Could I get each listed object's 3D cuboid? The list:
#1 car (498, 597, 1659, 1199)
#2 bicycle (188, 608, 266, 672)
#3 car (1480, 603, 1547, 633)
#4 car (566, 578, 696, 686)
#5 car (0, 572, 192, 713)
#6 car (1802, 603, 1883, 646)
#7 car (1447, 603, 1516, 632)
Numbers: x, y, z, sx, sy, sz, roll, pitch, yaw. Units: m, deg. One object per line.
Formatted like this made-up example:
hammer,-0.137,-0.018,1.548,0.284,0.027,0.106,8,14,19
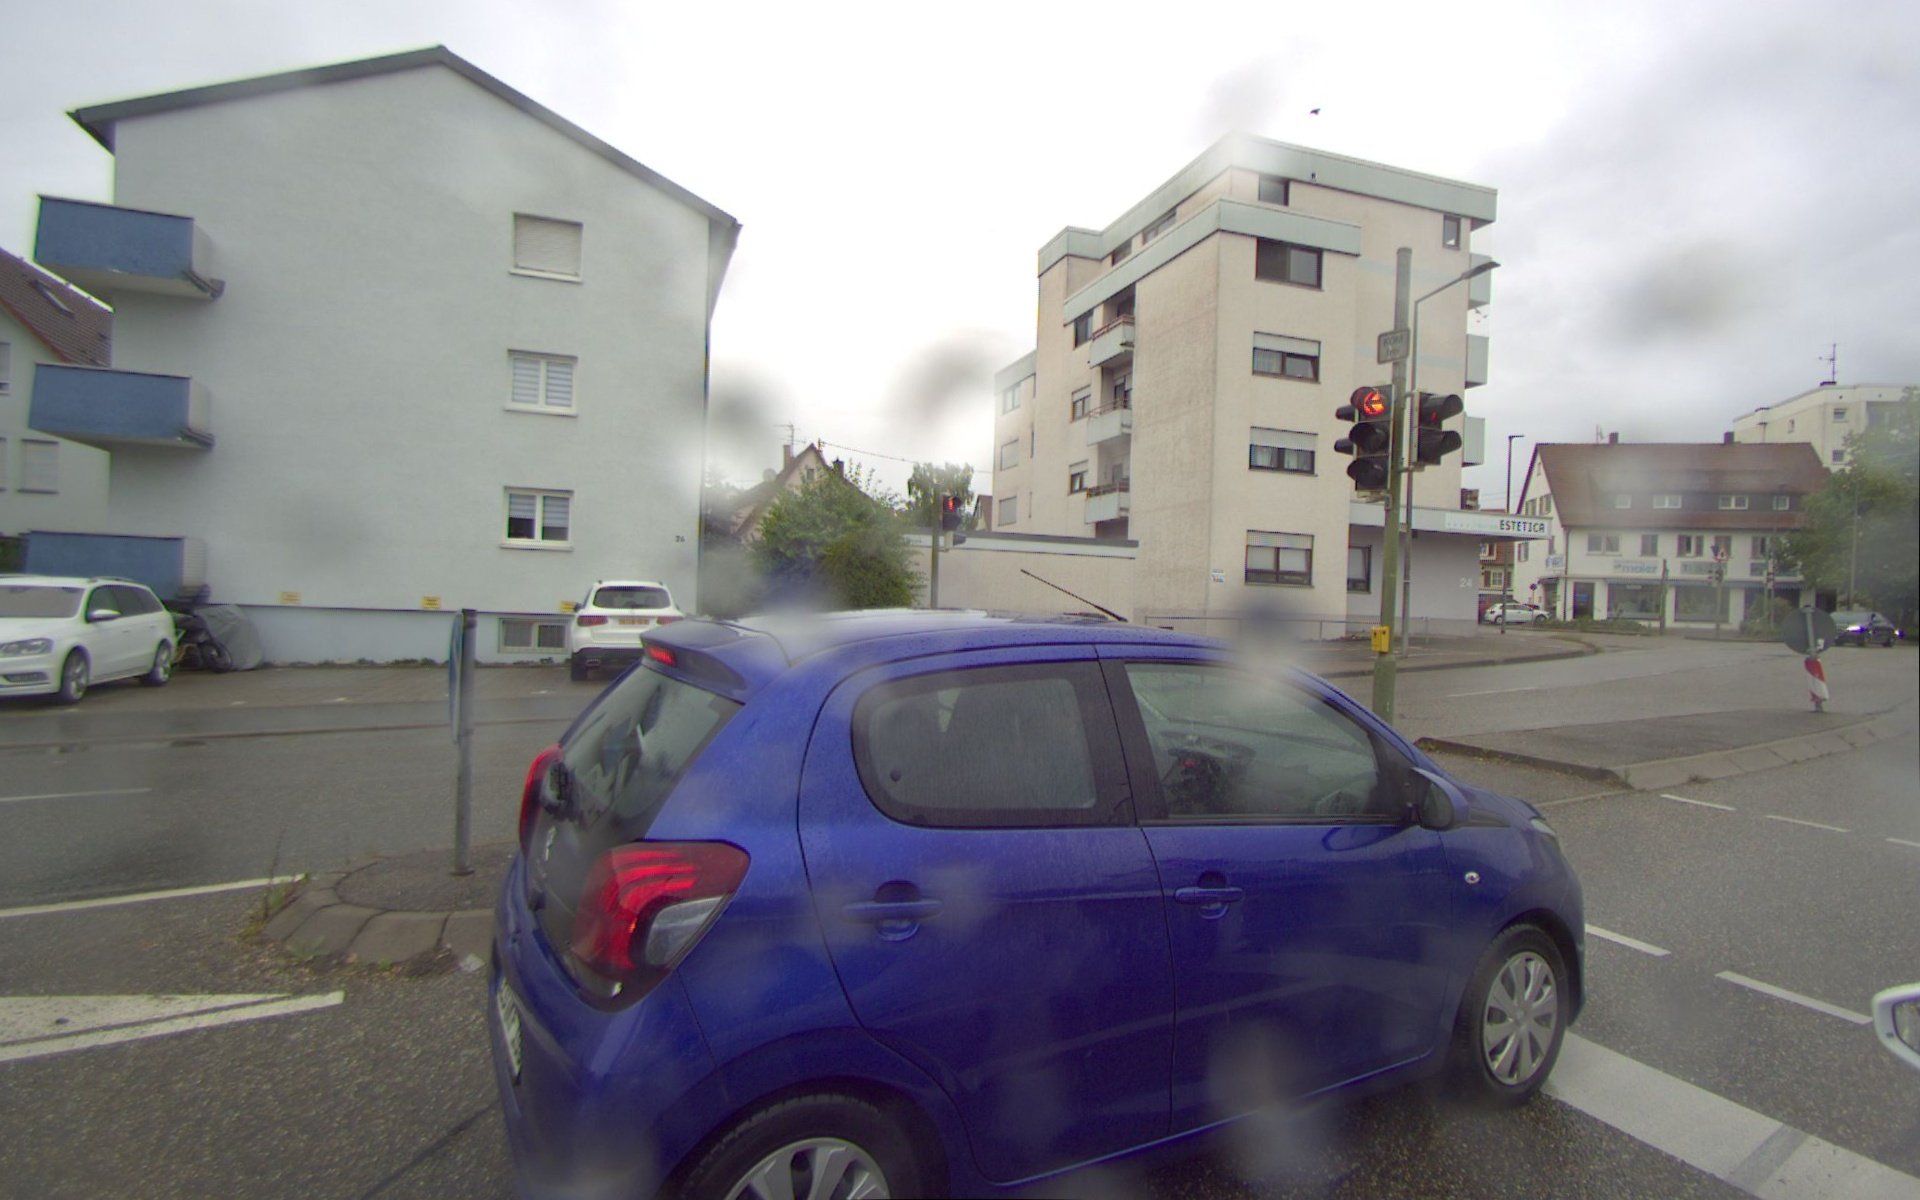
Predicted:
car,0.472,0.742,3.094,3.324,1.432,1.498,1,1,-30
bicycle,-12.691,0.685,17.414,1.053,1.067,0.345,0,1,-30
car,37.925,1.236,68.889,3.611,1.946,1.889,2,0,14
car,-5.760,0.507,17.569,1.884,1.637,3.982,2,0,-19
car,-11.477,0.453,12.499,1.854,1.480,4.732,1,-1,-23
car,36.590,1.022,41.618,4.505,1.646,1.975,2,0,-42
car,37.217,1.241,71.719,3.987,1.868,1.889,2,0,14
